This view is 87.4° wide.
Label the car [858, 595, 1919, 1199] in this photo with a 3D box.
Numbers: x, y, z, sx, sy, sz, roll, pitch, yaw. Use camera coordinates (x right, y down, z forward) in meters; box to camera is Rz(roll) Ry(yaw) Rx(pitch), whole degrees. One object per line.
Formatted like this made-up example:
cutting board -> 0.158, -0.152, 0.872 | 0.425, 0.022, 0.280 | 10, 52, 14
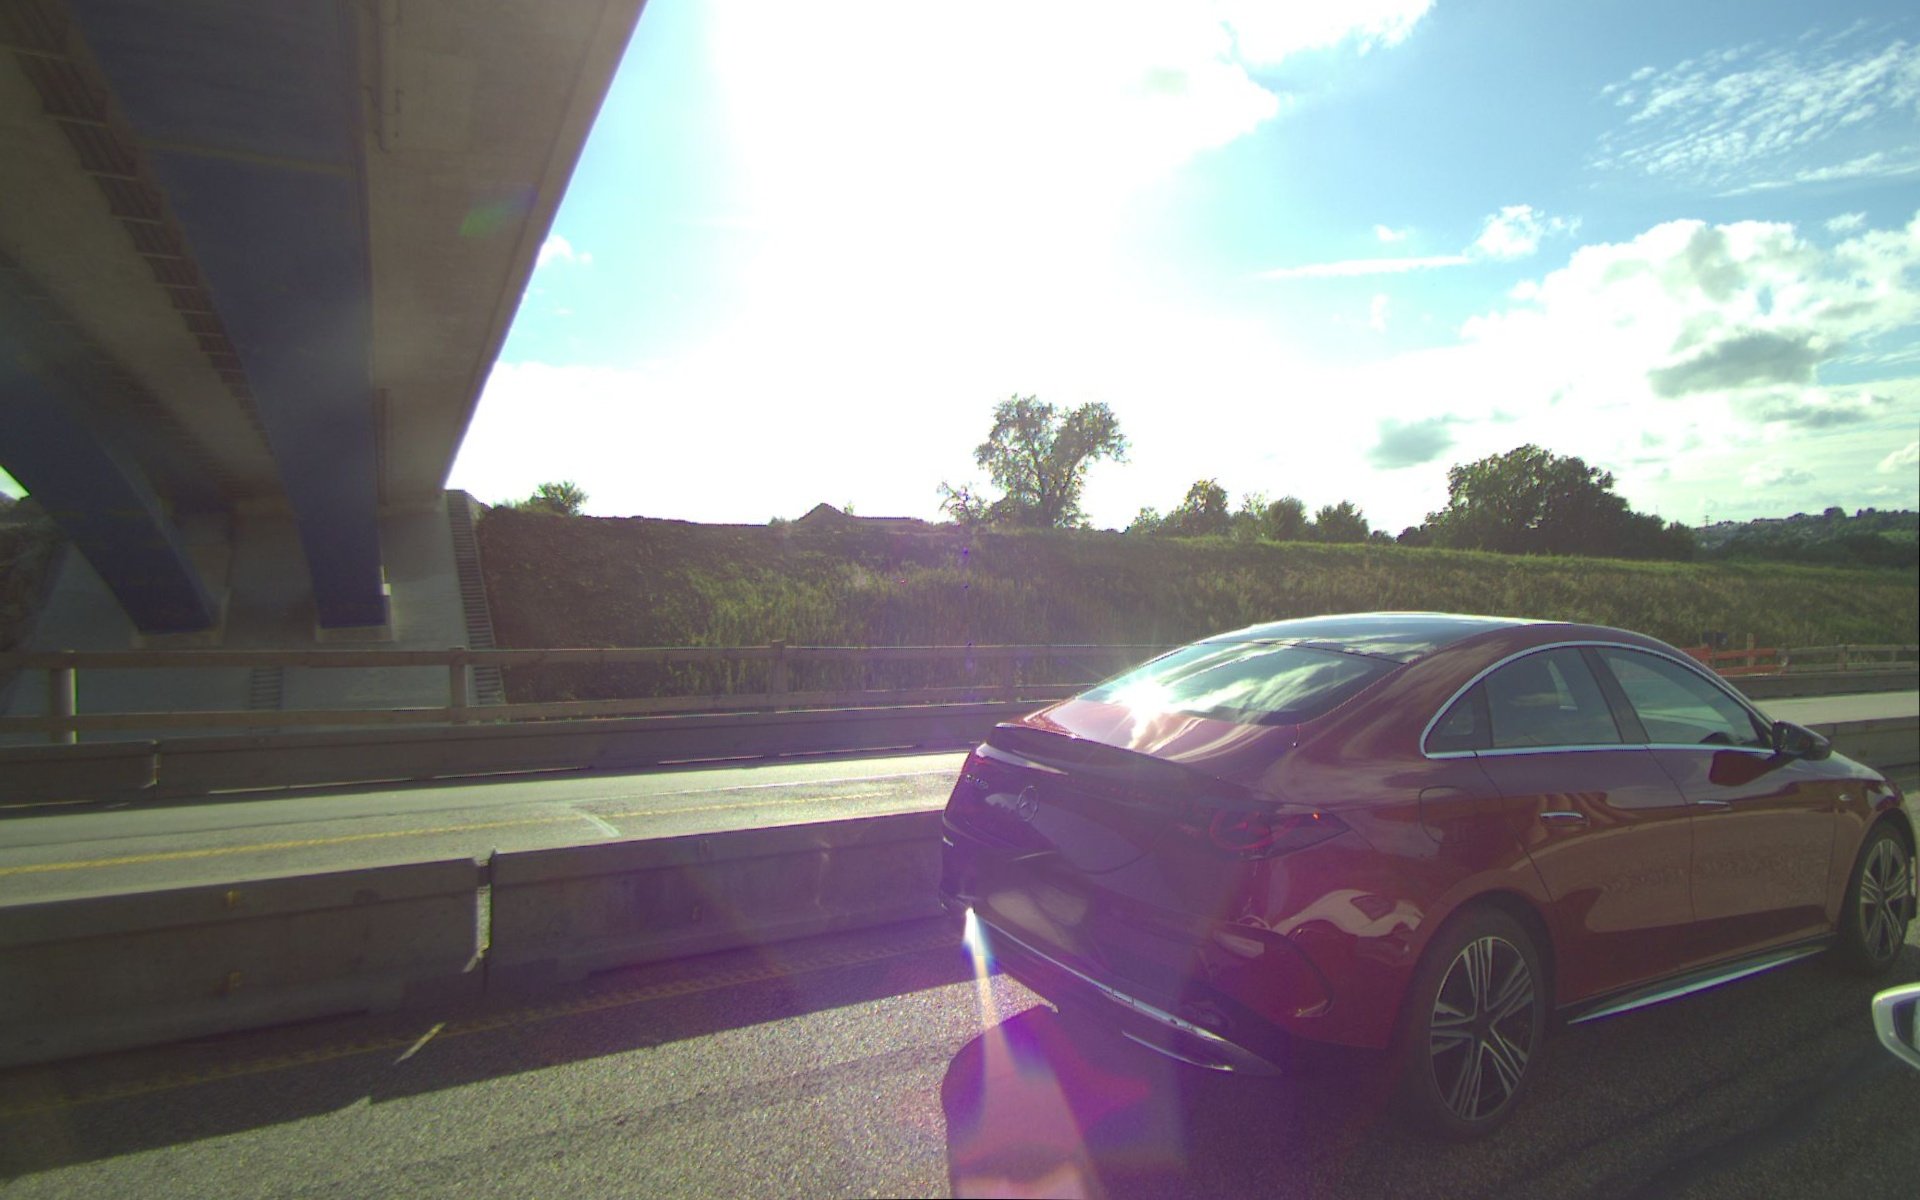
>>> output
car -> 2.069, 0.777, 4.147 | 4.629, 1.512, 1.814 | 1, 0, -30
